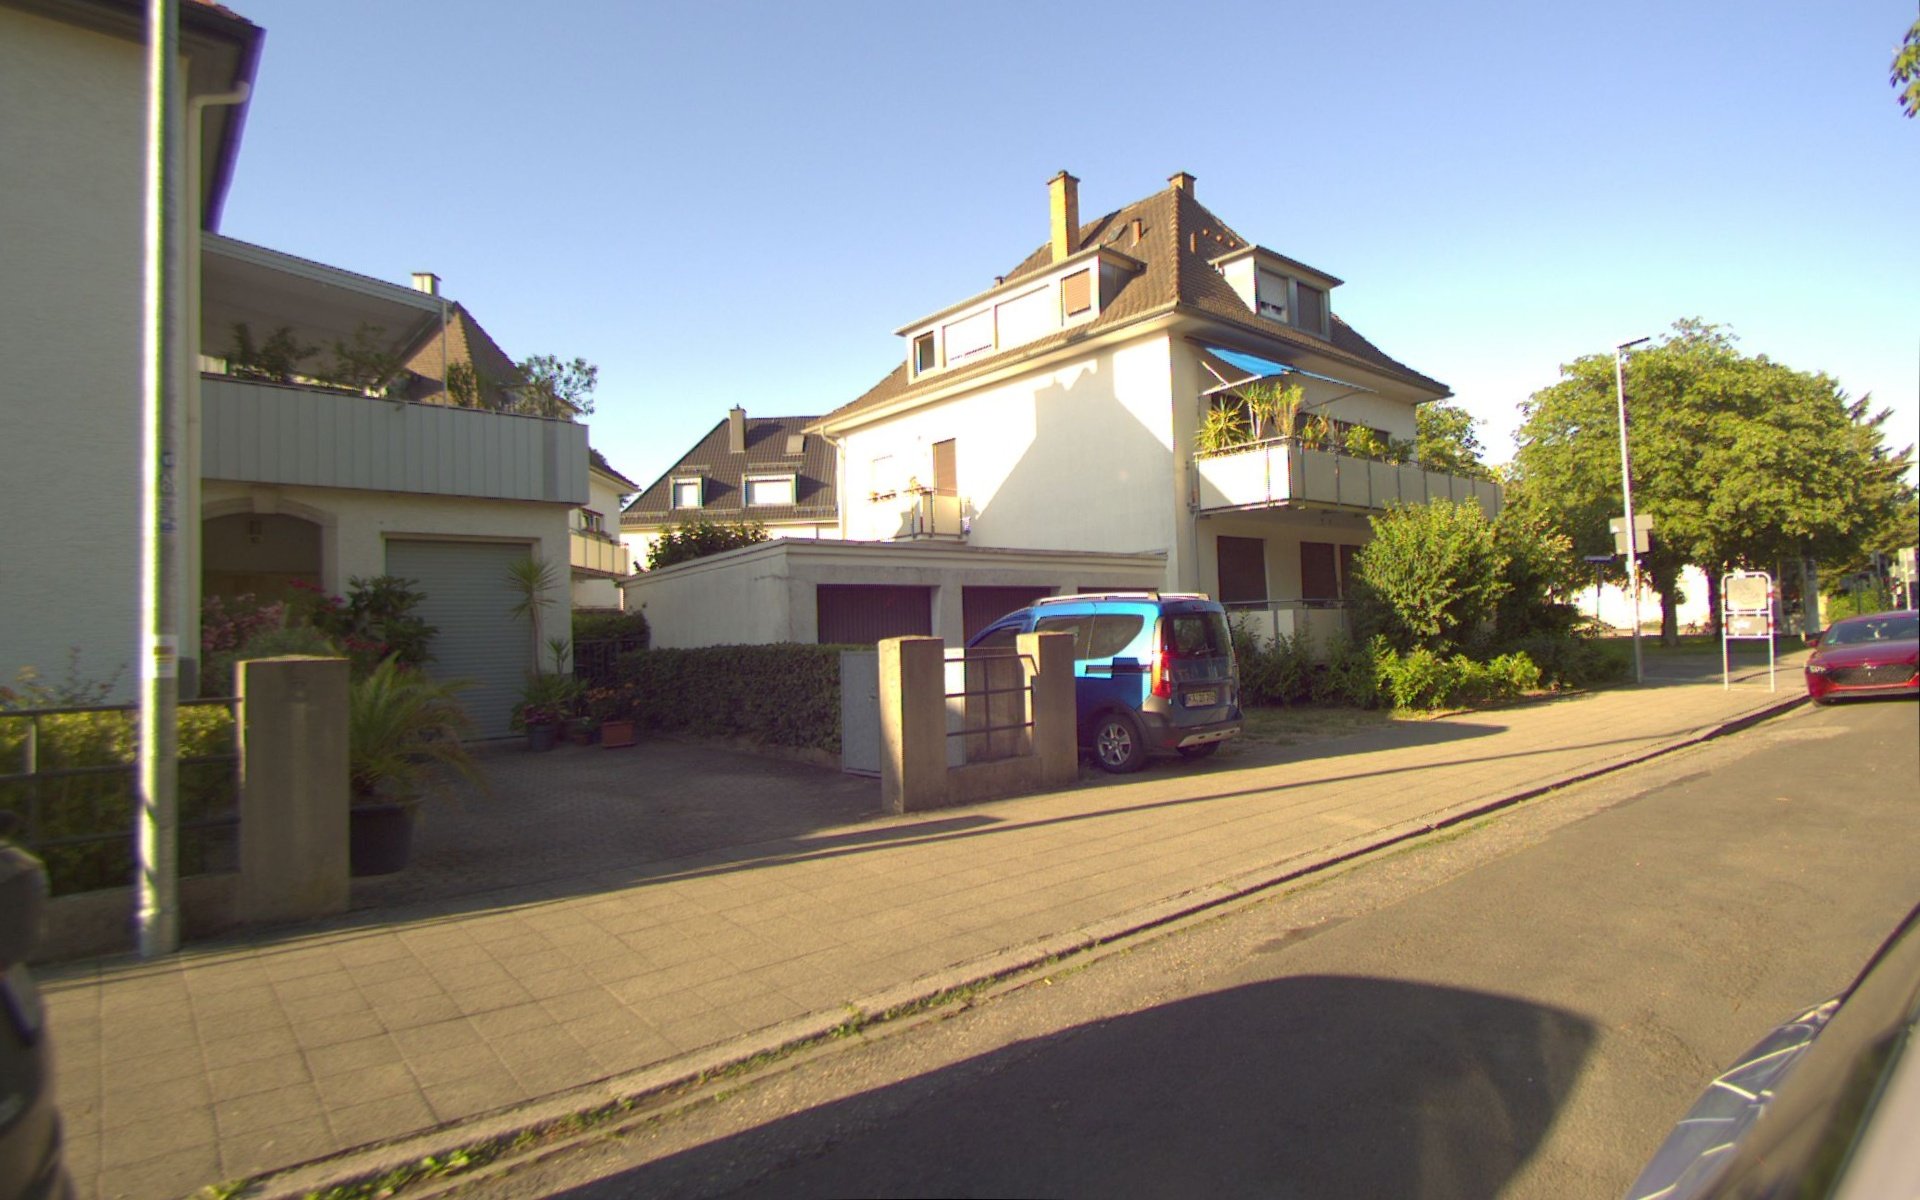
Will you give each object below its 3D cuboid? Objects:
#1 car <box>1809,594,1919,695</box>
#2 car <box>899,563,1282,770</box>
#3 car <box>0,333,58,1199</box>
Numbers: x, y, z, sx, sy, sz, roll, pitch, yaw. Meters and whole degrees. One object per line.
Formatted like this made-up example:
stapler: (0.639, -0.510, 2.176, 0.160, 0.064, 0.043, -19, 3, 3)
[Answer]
car: (15.882, 0.676, 17.007, 4.151, 1.514, 1.822, -1, -3, -42)
car: (1.356, 0.732, 11.693, 1.967, 1.953, 3.988, 0, -3, -44)
car: (-3.250, 0.705, 0.343, 4.392, 1.743, 1.858, -1, -8, -43)
